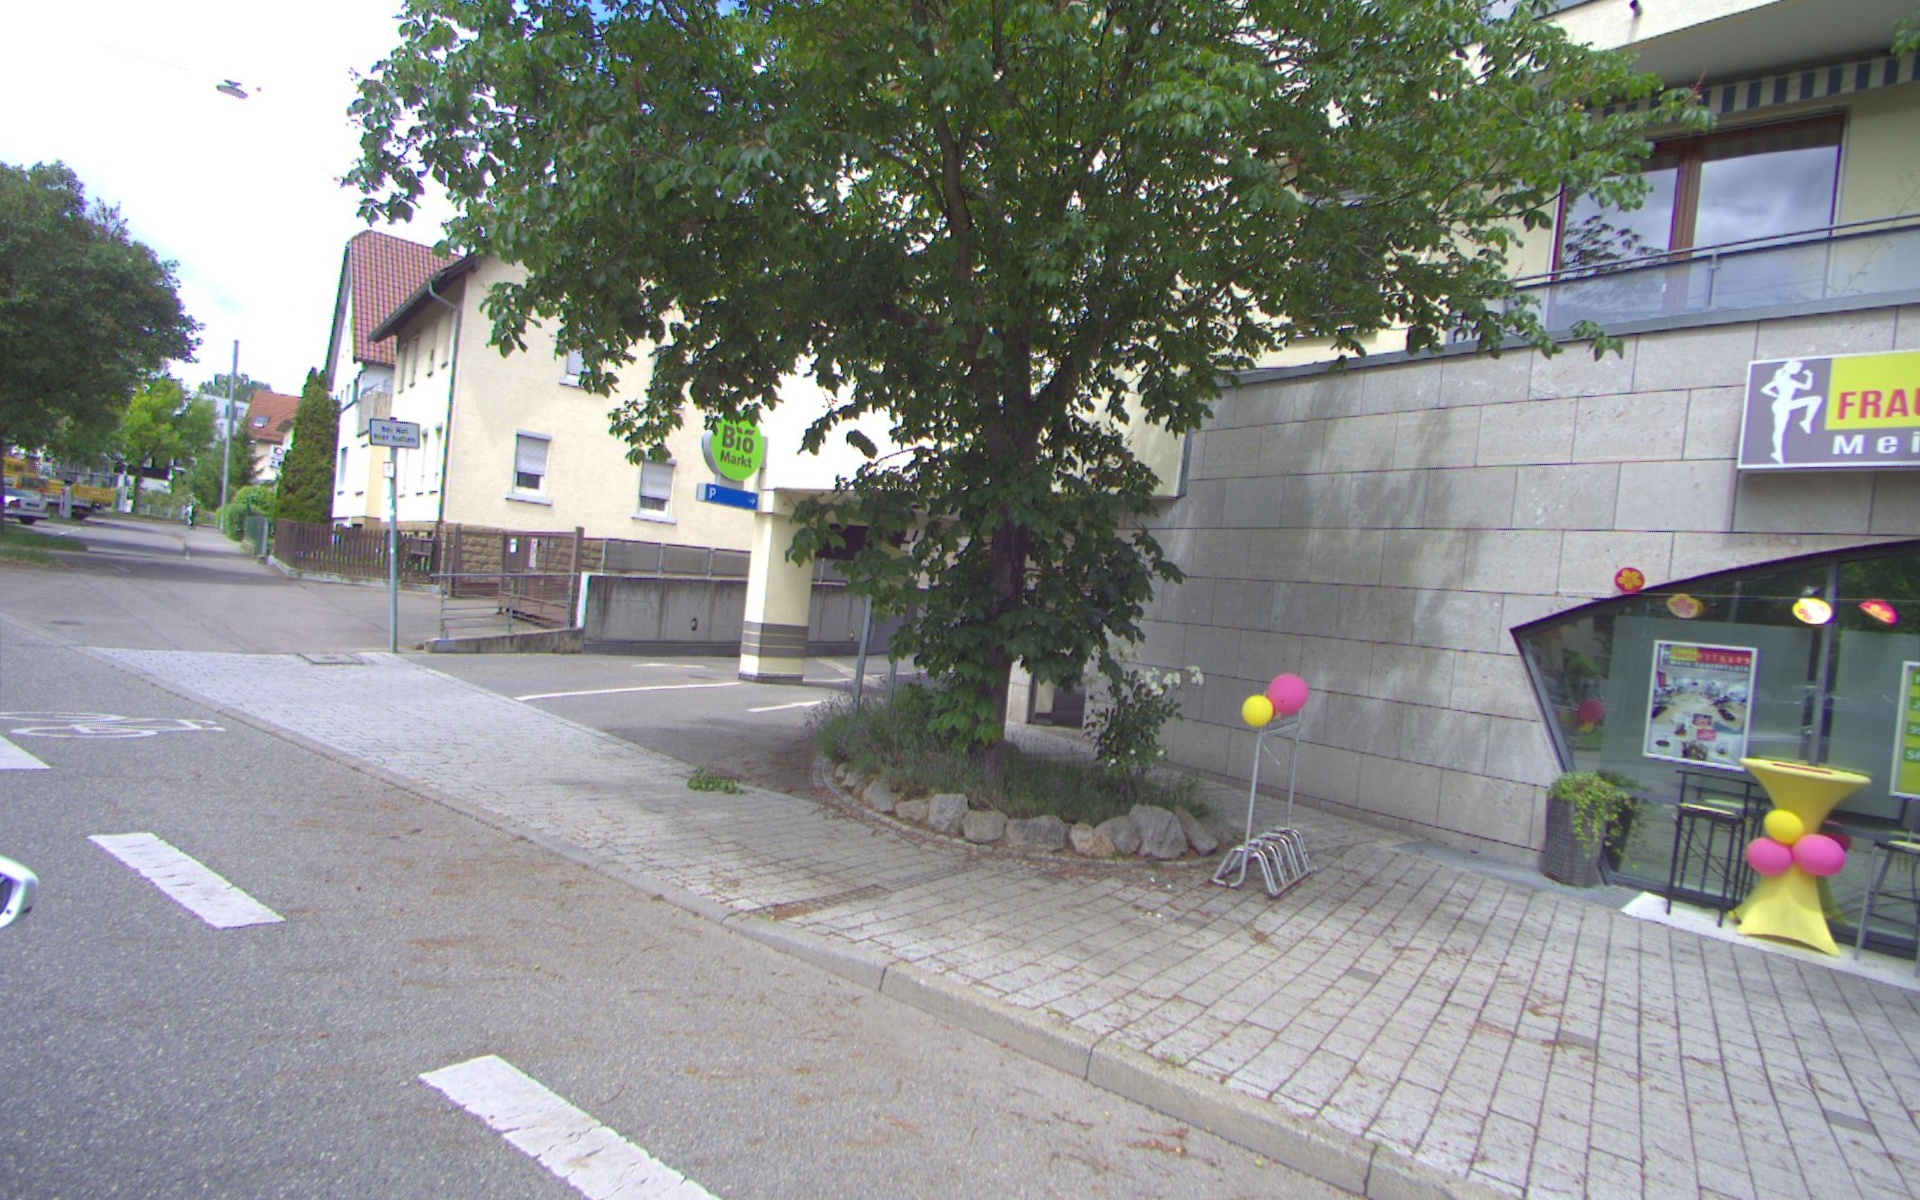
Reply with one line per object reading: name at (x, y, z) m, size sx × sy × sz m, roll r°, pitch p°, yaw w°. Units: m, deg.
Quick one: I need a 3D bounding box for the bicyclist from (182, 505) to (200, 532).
bicyclist at (-47.988, -5.064, 62.782) m, size 0.557 × 1.577 × 0.590 m, roll 6°, pitch -1°, yaw 31°

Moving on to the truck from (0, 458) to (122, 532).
truck at (-49.547, -5.747, 53.871) m, size 6.585 × 3.042 × 2.771 m, roll 8°, pitch -2°, yaw -2°

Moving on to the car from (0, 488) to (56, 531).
car at (-39.254, -3.845, 40.153) m, size 4.603 × 1.469 × 1.768 m, roll 7°, pitch 0°, yaw 0°

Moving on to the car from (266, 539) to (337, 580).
car at (-22.934, -1.422, 35.007) m, size 1.457 × 1.137 × 3.828 m, roll 9°, pitch -3°, yaw -41°

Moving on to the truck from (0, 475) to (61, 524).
truck at (-49.428, -5.353, 50.892) m, size 5.579 × 2.036 × 1.999 m, roll 8°, pitch -2°, yaw -7°

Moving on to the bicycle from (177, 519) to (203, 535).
bicycle at (-48.050, -4.552, 62.775) m, size 1.725 × 0.821 × 0.595 m, roll 6°, pitch -2°, yaw 31°
